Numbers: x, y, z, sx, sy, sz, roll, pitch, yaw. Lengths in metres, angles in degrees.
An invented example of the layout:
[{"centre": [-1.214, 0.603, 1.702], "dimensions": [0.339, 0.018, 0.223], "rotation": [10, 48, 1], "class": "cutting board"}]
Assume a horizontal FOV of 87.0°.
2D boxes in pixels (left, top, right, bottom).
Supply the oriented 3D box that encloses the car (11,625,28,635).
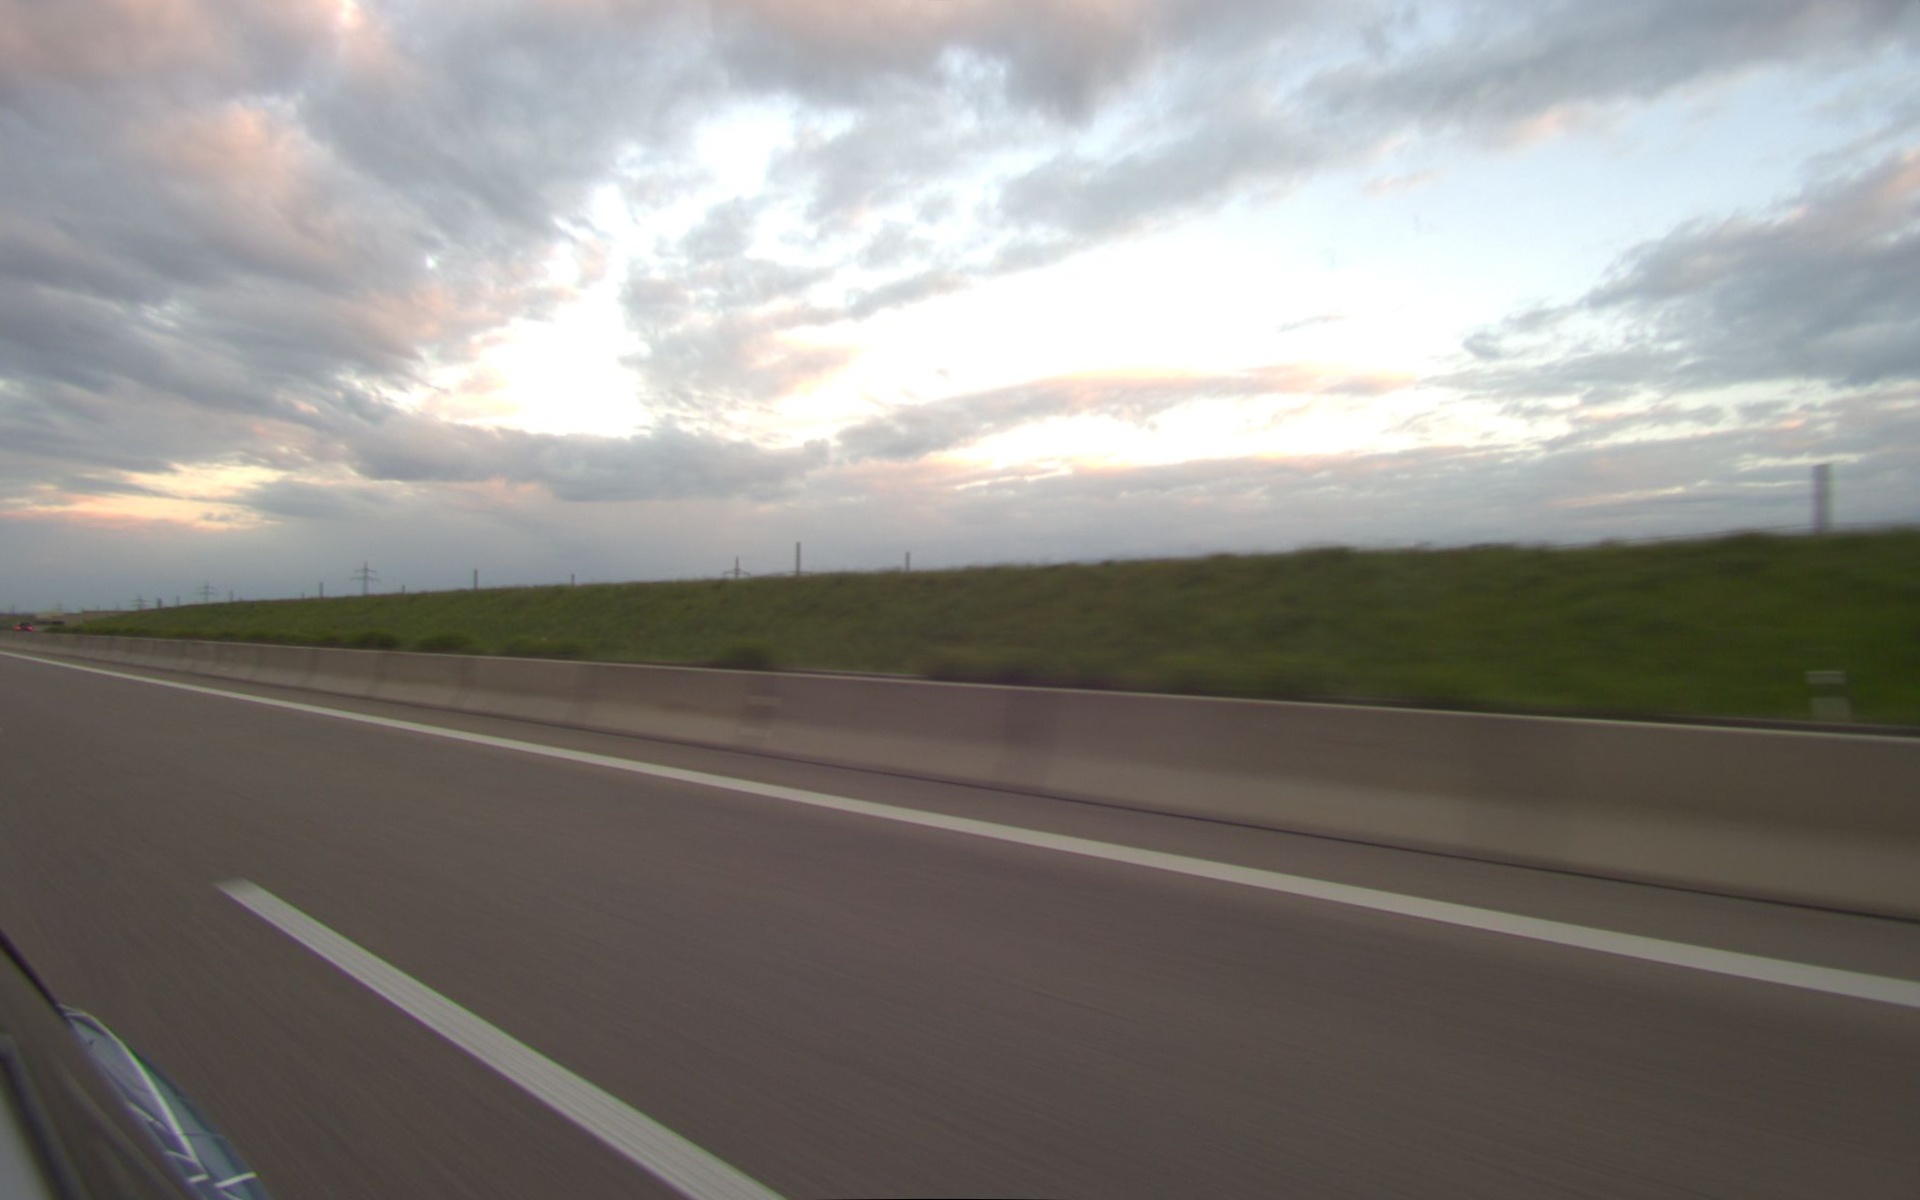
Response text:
[{"centre": [-151.659, 4.854, 163.205], "dimensions": [3.596, 1.685, 1.716], "rotation": [-1, -2, 42], "class": "car"}]
